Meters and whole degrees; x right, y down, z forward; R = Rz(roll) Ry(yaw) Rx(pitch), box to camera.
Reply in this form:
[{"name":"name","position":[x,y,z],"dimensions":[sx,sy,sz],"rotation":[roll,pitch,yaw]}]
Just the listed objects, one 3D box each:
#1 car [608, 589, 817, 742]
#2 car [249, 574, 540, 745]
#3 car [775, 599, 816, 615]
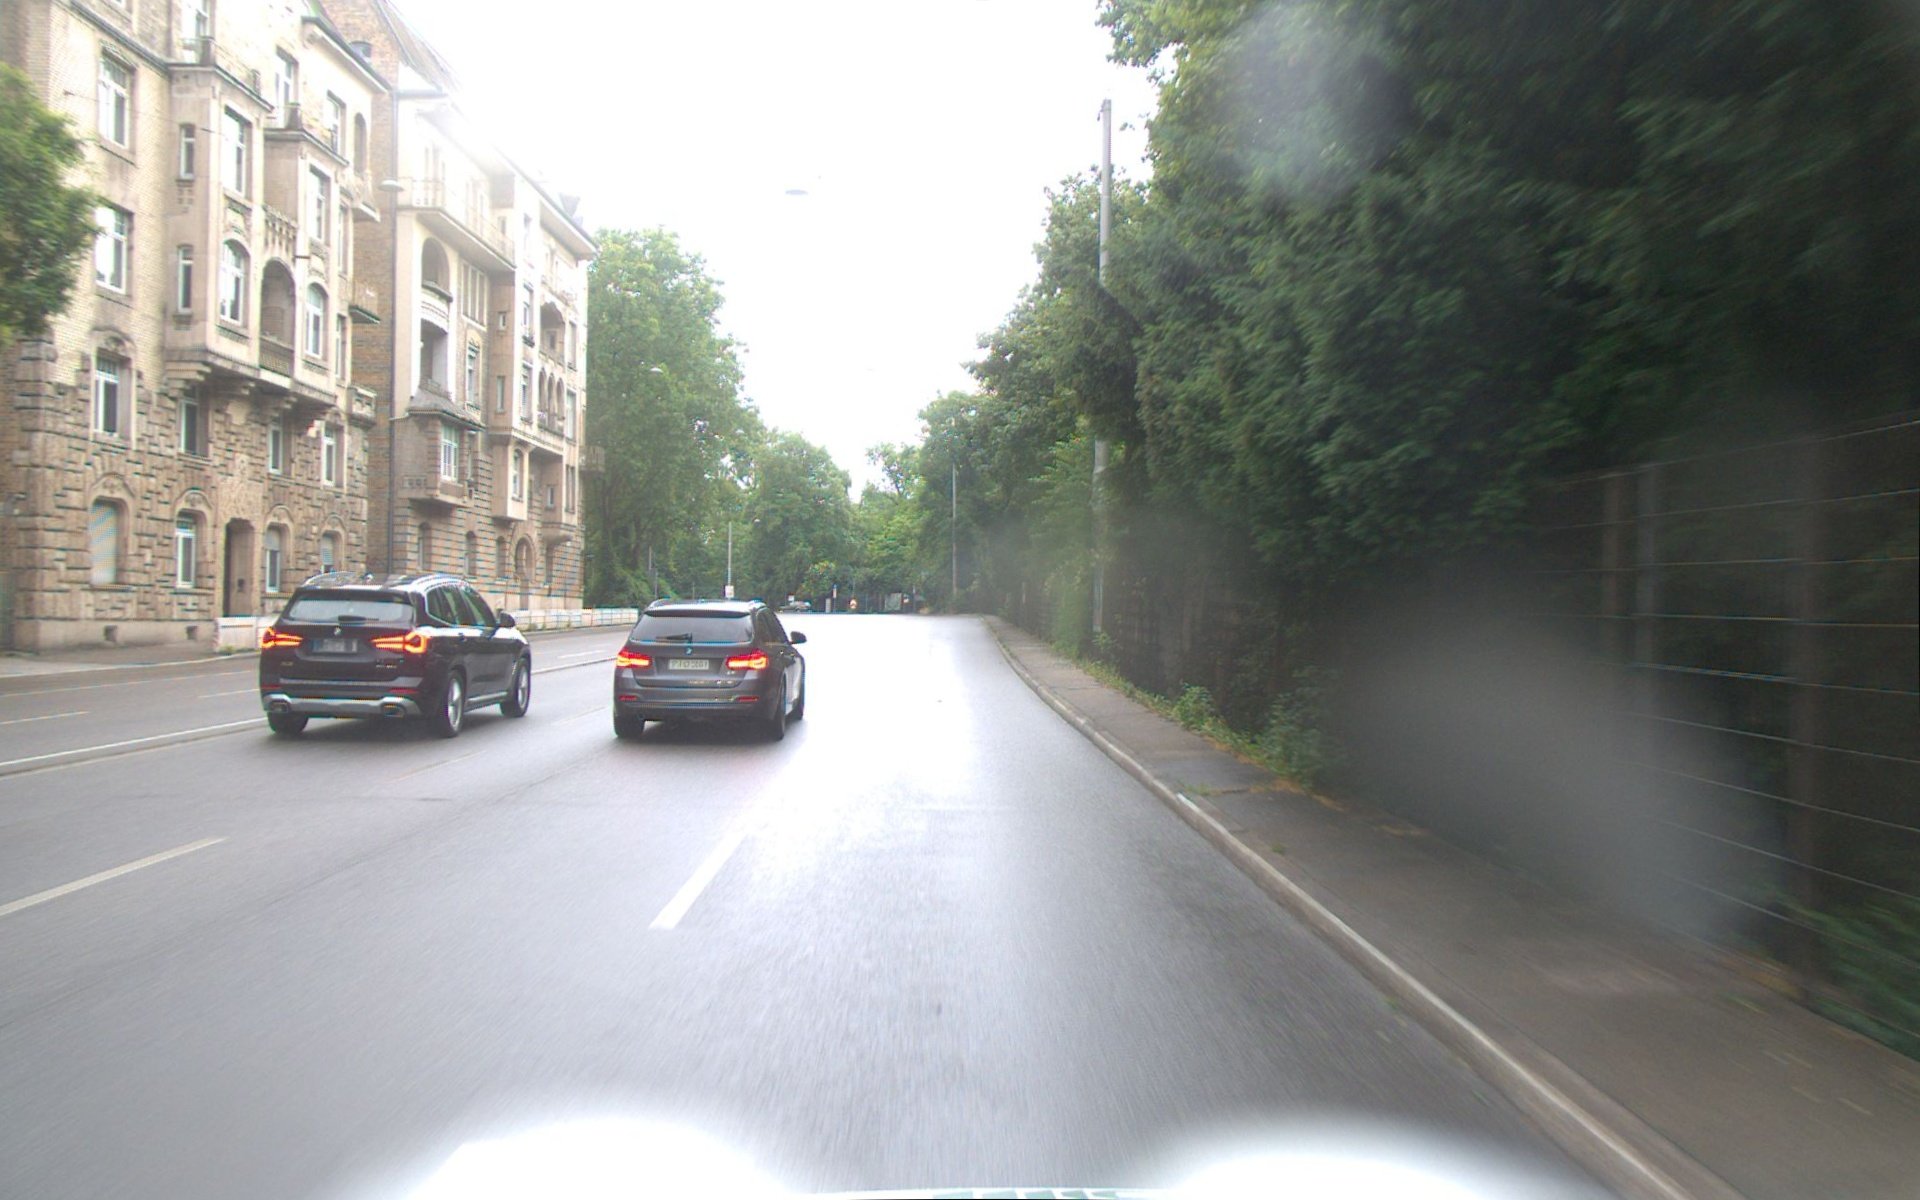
[{"name":"car","position":[-2.652,0.653,18.652],"dimensions":[1.722,1.457,4.411],"rotation":[2,0,-1]},{"name":"car","position":[-6.025,0.577,18.185],"dimensions":[1.722,1.613,4.411],"rotation":[1,0,-1]},{"name":"car","position":[-16.553,0.701,165.942],"dimensions":[4.295,1.451,1.681],"rotation":[0,-3,43]}]
